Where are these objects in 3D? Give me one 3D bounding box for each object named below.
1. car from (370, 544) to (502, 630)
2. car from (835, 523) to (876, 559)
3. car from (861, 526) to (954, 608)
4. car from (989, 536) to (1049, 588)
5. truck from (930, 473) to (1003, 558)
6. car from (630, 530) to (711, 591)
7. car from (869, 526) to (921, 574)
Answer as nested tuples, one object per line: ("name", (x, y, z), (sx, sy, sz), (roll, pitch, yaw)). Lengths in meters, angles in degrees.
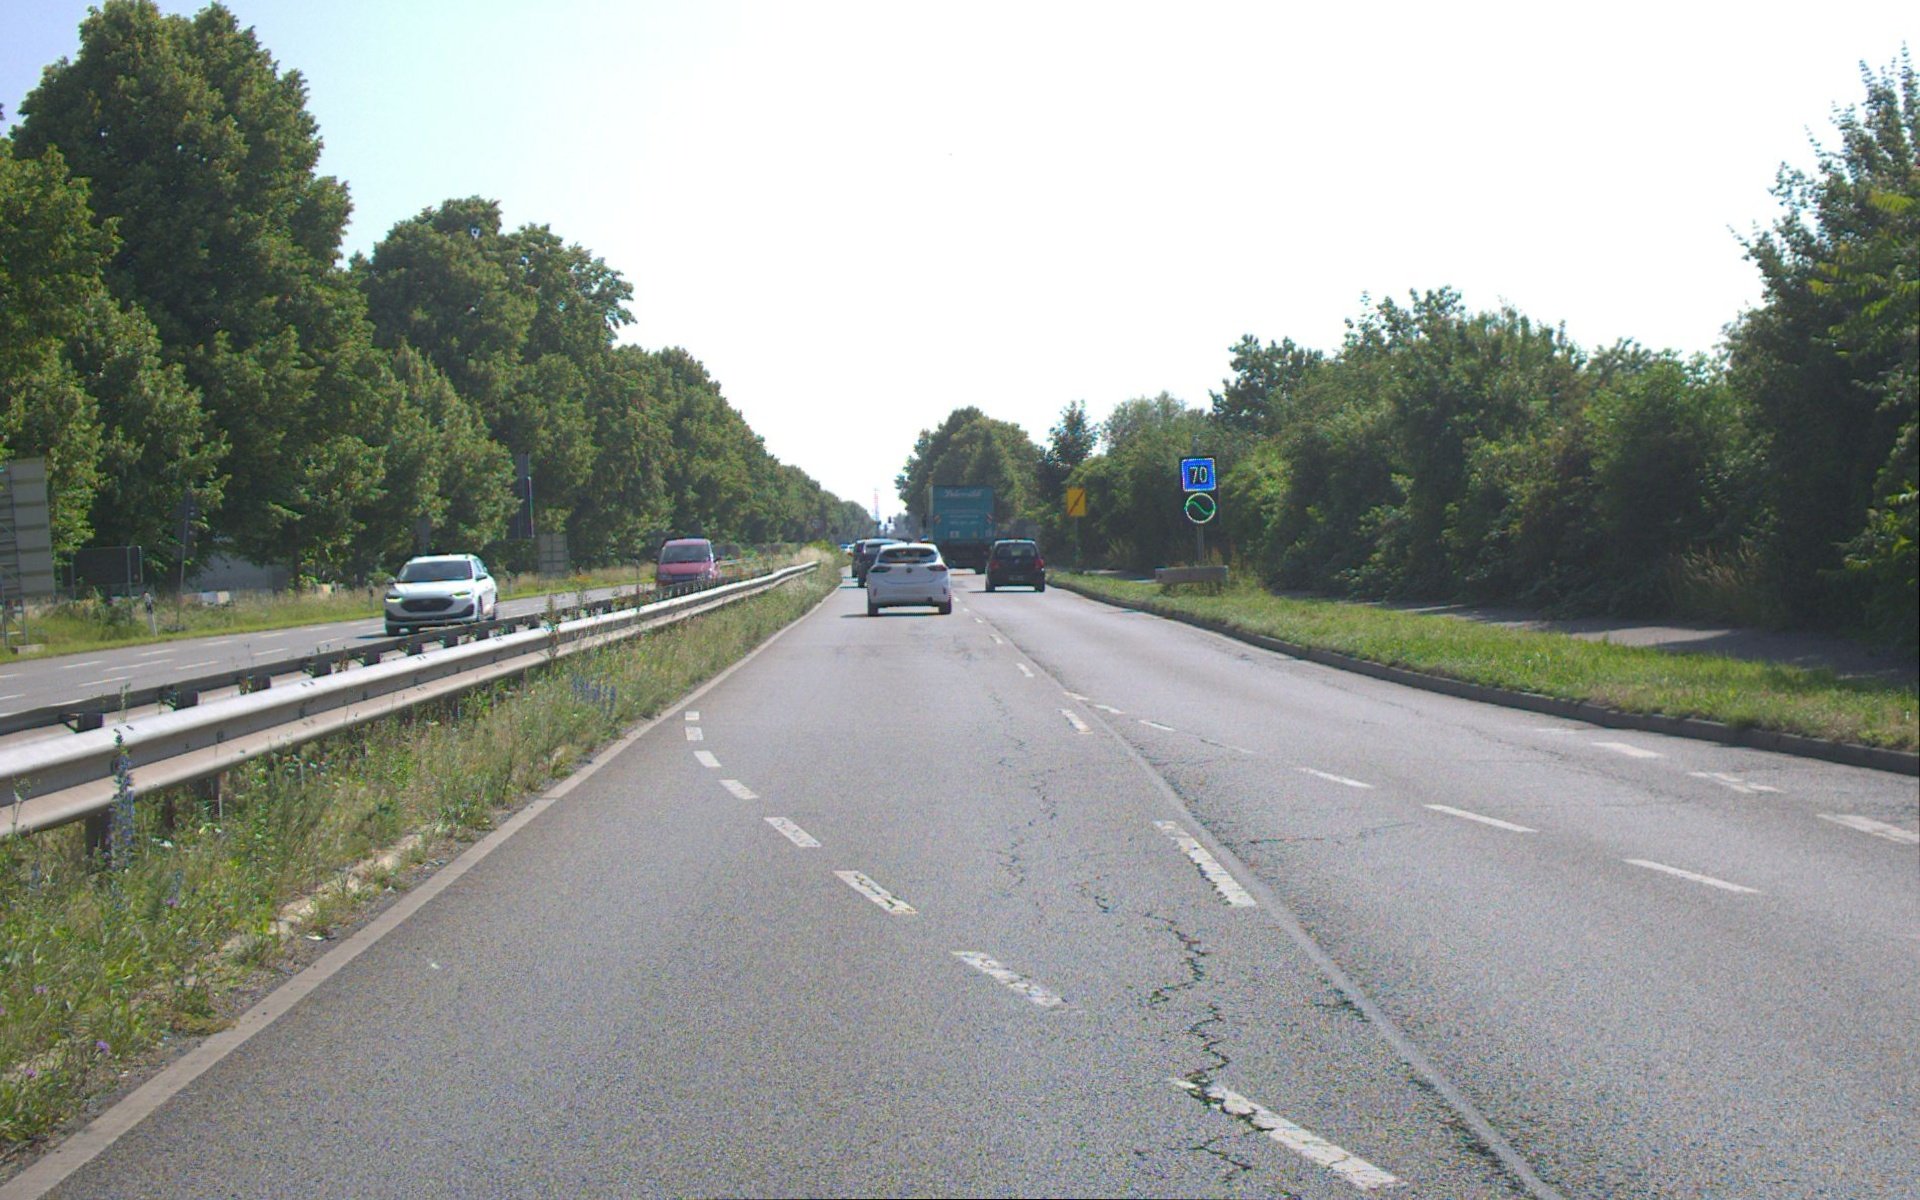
("car", (-10.114, -0.279, 66.629), (1.993, 1.497, 4.091), (-3, 2, -2))
("car", (-4.409, -2.486, 145.183), (1.572, 1.409, 3.278), (-3, 2, 0))
("car", (-1.054, -0.700, 70.614), (1.799, 1.547, 4.000), (-1, 2, 0))
("car", (1.636, -1.068, 96.546), (1.572, 1.409, 3.277), (-2, 1, 0))
("truck", (0.227, -3.627, 147.606), (2.891, 3.417, 9.170), (-3, 2, 0))
("car", (-7.847, -1.088, 93.444), (1.912, 1.497, 4.091), (-3, 2, -2))
("car", (-2.082, -1.617, 110.444), (1.572, 1.409, 3.278), (-3, 2, 0))
